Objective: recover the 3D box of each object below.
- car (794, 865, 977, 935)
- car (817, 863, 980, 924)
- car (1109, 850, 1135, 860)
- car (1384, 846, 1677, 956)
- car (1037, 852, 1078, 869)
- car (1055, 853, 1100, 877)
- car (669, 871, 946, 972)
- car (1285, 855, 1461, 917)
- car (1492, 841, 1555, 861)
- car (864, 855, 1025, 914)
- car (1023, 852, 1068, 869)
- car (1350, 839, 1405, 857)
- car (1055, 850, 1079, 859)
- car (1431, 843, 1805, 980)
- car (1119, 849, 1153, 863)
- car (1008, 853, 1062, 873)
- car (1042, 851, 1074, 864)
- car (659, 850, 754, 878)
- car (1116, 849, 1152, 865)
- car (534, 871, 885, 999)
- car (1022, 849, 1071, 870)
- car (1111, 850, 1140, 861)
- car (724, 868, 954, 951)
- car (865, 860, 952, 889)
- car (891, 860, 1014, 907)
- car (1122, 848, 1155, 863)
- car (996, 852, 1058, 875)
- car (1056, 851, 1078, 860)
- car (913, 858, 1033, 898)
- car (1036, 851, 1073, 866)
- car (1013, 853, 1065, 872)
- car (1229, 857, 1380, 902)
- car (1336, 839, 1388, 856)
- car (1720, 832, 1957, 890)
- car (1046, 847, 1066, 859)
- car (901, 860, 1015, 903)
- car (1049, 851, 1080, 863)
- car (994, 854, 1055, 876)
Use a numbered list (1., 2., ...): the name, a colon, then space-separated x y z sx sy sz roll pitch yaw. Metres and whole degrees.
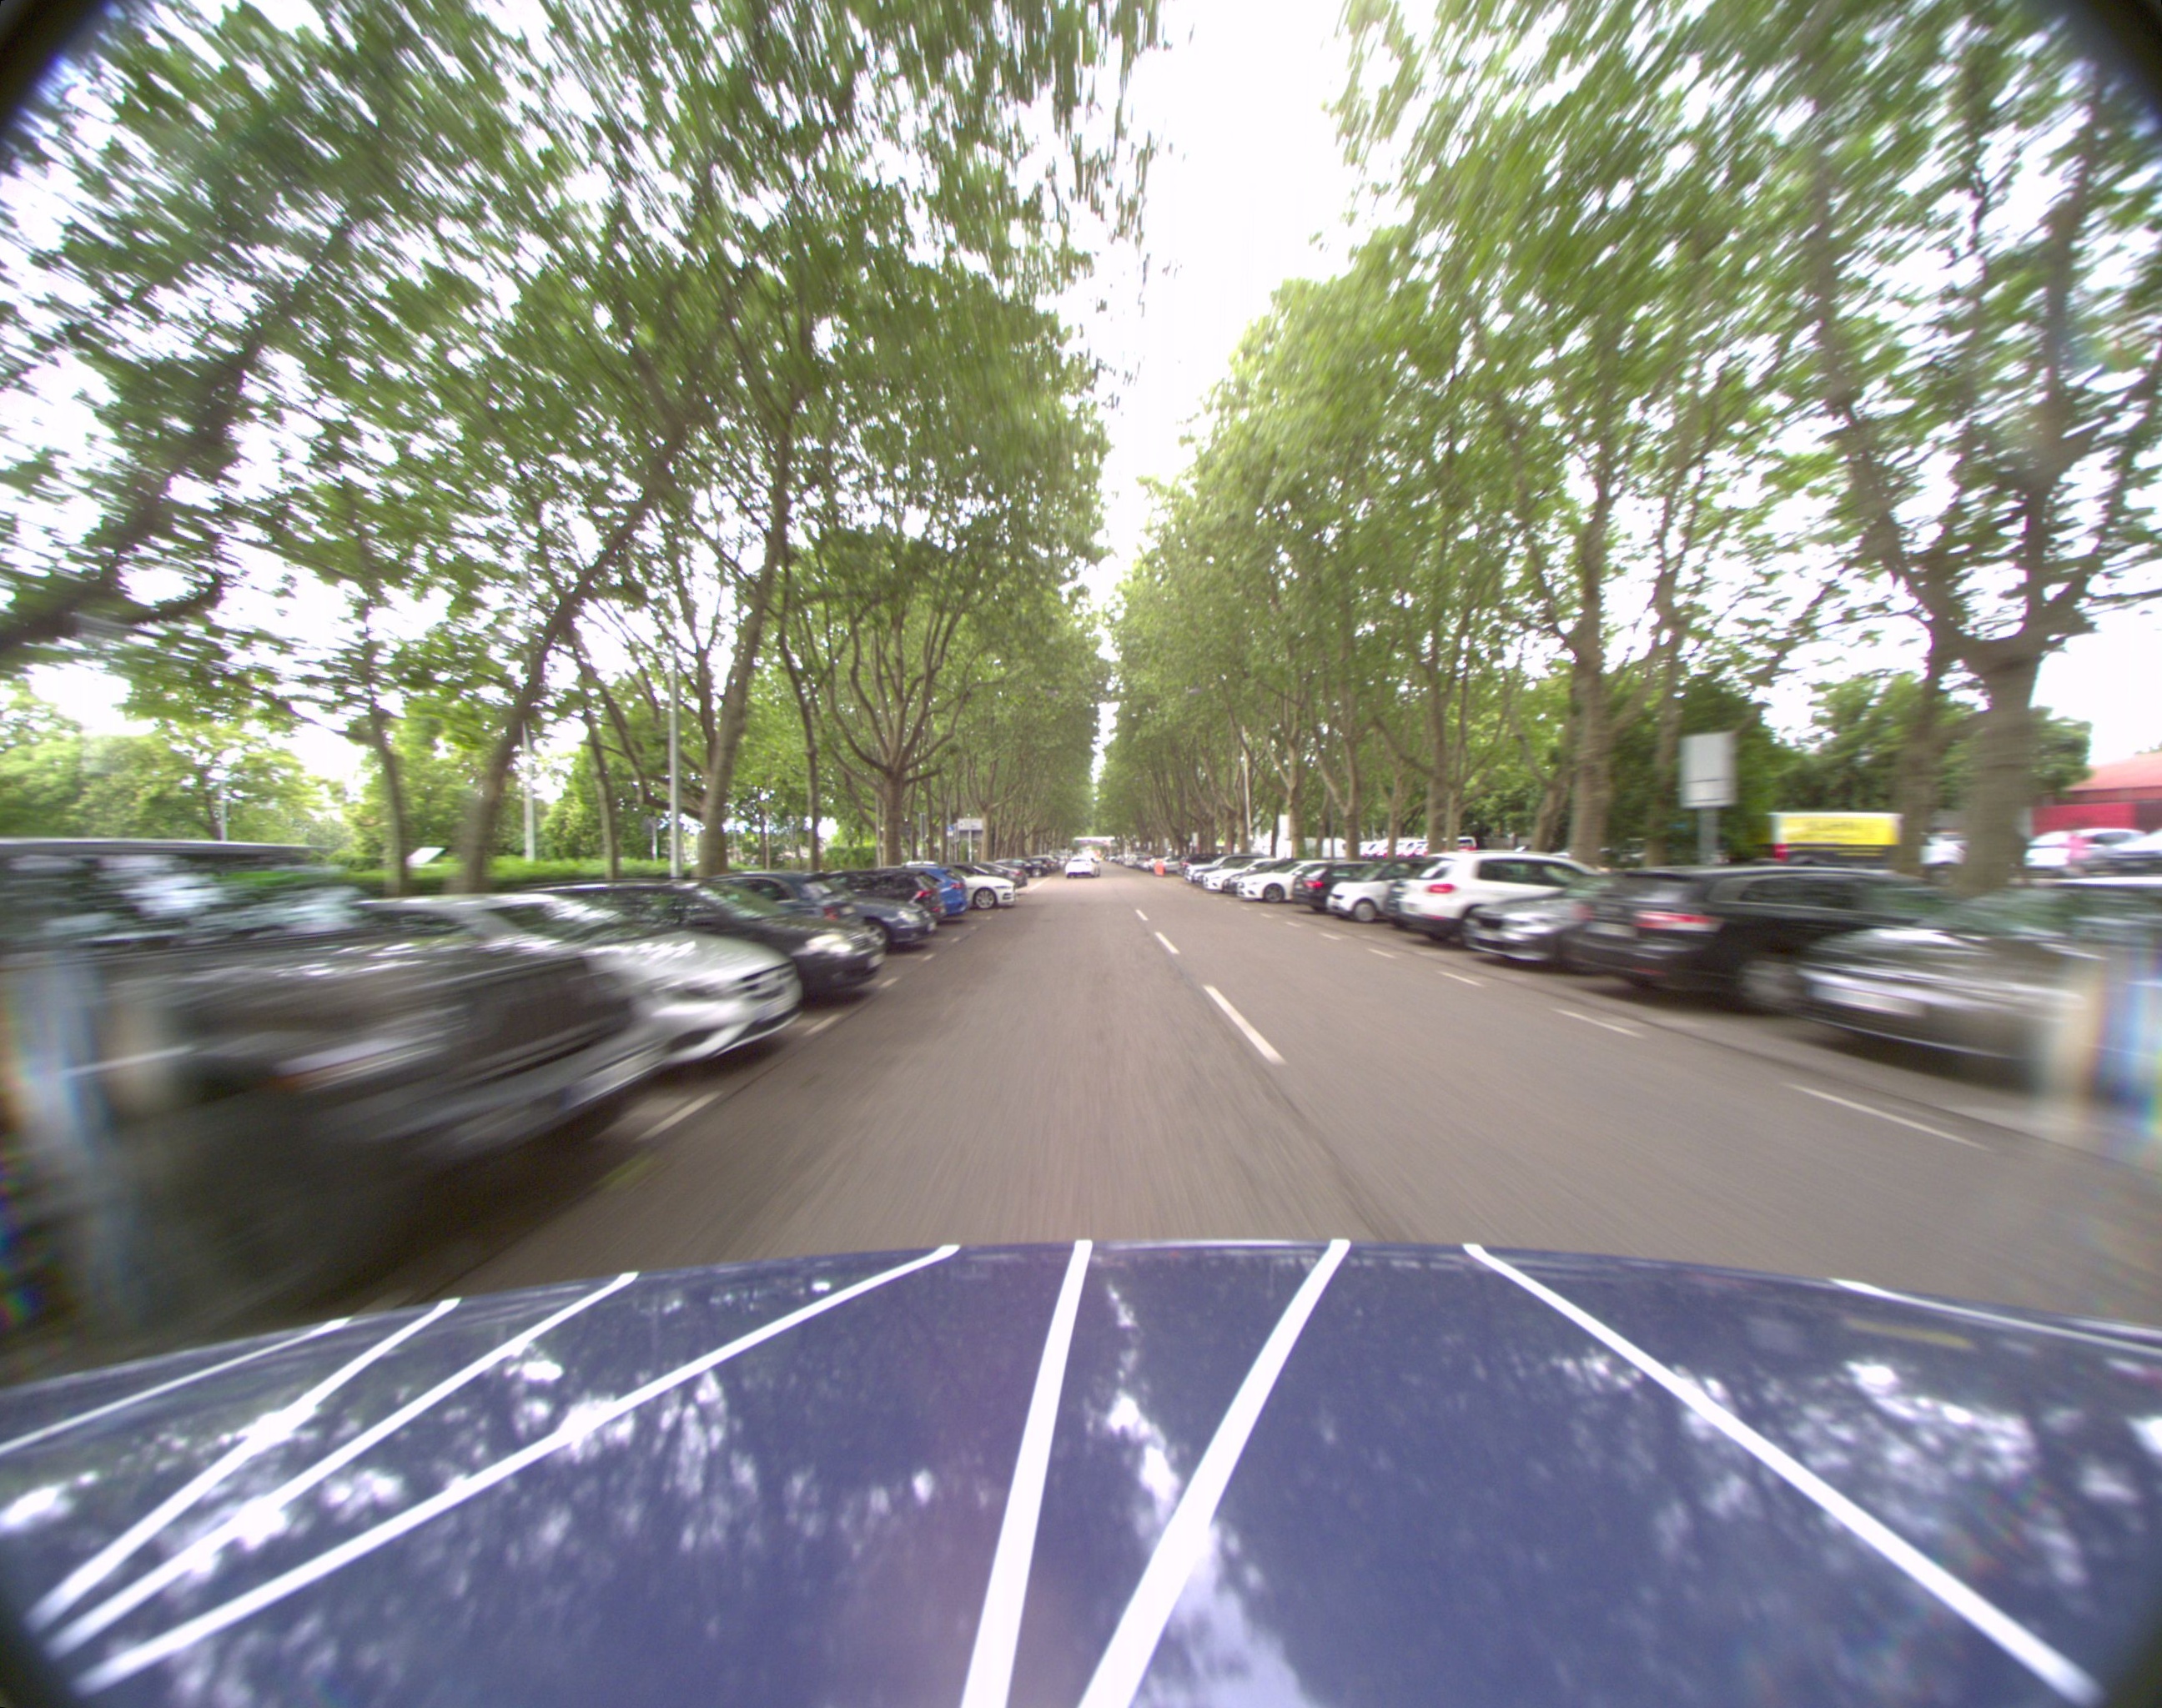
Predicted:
1. car: -4.685 1.079 18.735 4.027 1.439 1.913 -2 0 -5
2. car: -5.001 1.064 21.150 4.025 1.439 1.784 -2 0 1
3. car: 8.042 0.156 148.299 4.919 1.817 2.000 -2 -2 -2
4. car: 7.666 0.762 13.284 3.996 1.672 1.855 -2 1 2
5. car: -2.810 0.807 93.026 4.674 1.740 2.001 -3 1 5
6. car: -0.280 0.698 49.220 2.000 1.375 4.674 -3 0 -11
7. car: -4.663 1.127 13.447 4.207 1.447 1.785 -2 0 -2
8. car: 7.708 0.816 20.345 3.996 1.445 1.855 -2 1 2
9. car: 34.771 -0.243 59.749 3.998 1.478 1.800 -2 1 -3
10. car: -4.138 0.918 23.635 4.535 1.613 2.054 -2 0 1
11. car: -3.861 0.715 83.010 4.674 1.602 2.001 -3 1 5
12. car: 35.013 -0.756 89.764 5.466 2.009 2.393 1 1 -2
13. car: -2.867 0.097 157.883 4.919 1.817 2.000 -2 -2 -2
14. car: 7.444 0.747 10.861 3.996 1.672 1.855 -2 1 2
15. car: 7.560 0.269 104.424 4.491 1.740 2.001 -3 1 5
16. car: -4.270 0.837 70.825 4.673 1.514 2.001 -3 1 6
17. car: -3.564 0.562 118.144 4.674 1.740 2.001 -3 1 5
18. car: -20.444 0.531 41.615 4.288 1.453 1.784 0 0 -1
19. car: 6.819 0.381 98.203 4.491 1.740 2.001 -3 1 5
20. car: -5.237 1.107 11.179 4.207 1.509 1.785 -2 0 -2
21. car: -3.558 0.562 78.069 4.674 1.891 2.001 -3 1 5
22. car: 8.003 0.326 136.654 4.919 1.817 2.000 -2 -2 -2
23. car: -4.935 1.109 15.944 4.207 1.447 1.785 -2 0 -2
24. car: -9.299 1.095 41.233 4.288 1.453 1.784 0 0 -1
25. car: -4.332 0.989 26.038 3.839 1.409 1.718 -2 0 1
26. car: 8.194 0.198 107.864 4.491 1.740 2.001 -3 1 5
27. car: -4.227 0.773 60.237 4.676 1.514 2.000 -3 1 -1
28. car: -2.682 0.341 146.103 3.998 1.641 1.999 -2 1 -3
29. car: -4.377 0.968 31.177 4.598 1.409 1.719 -2 0 4
30. car: -3.558 0.643 103.398 4.674 1.740 2.001 -3 1 5
31. car: -4.016 0.777 73.119 4.674 1.514 2.001 -3 1 5
32. car: 7.437 0.839 25.540 4.421 1.435 2.046 1 0 -6
33. car: 34.769 -0.802 94.076 5.466 2.009 2.393 -2 1 -2
34. car: 23.631 0.202 23.862 5.362 1.587 2.094 -2 1 0
35. car: -5.026 -0.256 153.043 3.997 2.274 2.000 -2 1 1
36. car: -4.532 0.989 28.548 4.029 1.409 1.910 -2 0 -5
37. car: -2.677 0.525 124.361 4.674 1.740 2.001 -3 0 5
38. car: -4.233 0.805 57.439 4.383 1.469 1.999 -2 1 -1
